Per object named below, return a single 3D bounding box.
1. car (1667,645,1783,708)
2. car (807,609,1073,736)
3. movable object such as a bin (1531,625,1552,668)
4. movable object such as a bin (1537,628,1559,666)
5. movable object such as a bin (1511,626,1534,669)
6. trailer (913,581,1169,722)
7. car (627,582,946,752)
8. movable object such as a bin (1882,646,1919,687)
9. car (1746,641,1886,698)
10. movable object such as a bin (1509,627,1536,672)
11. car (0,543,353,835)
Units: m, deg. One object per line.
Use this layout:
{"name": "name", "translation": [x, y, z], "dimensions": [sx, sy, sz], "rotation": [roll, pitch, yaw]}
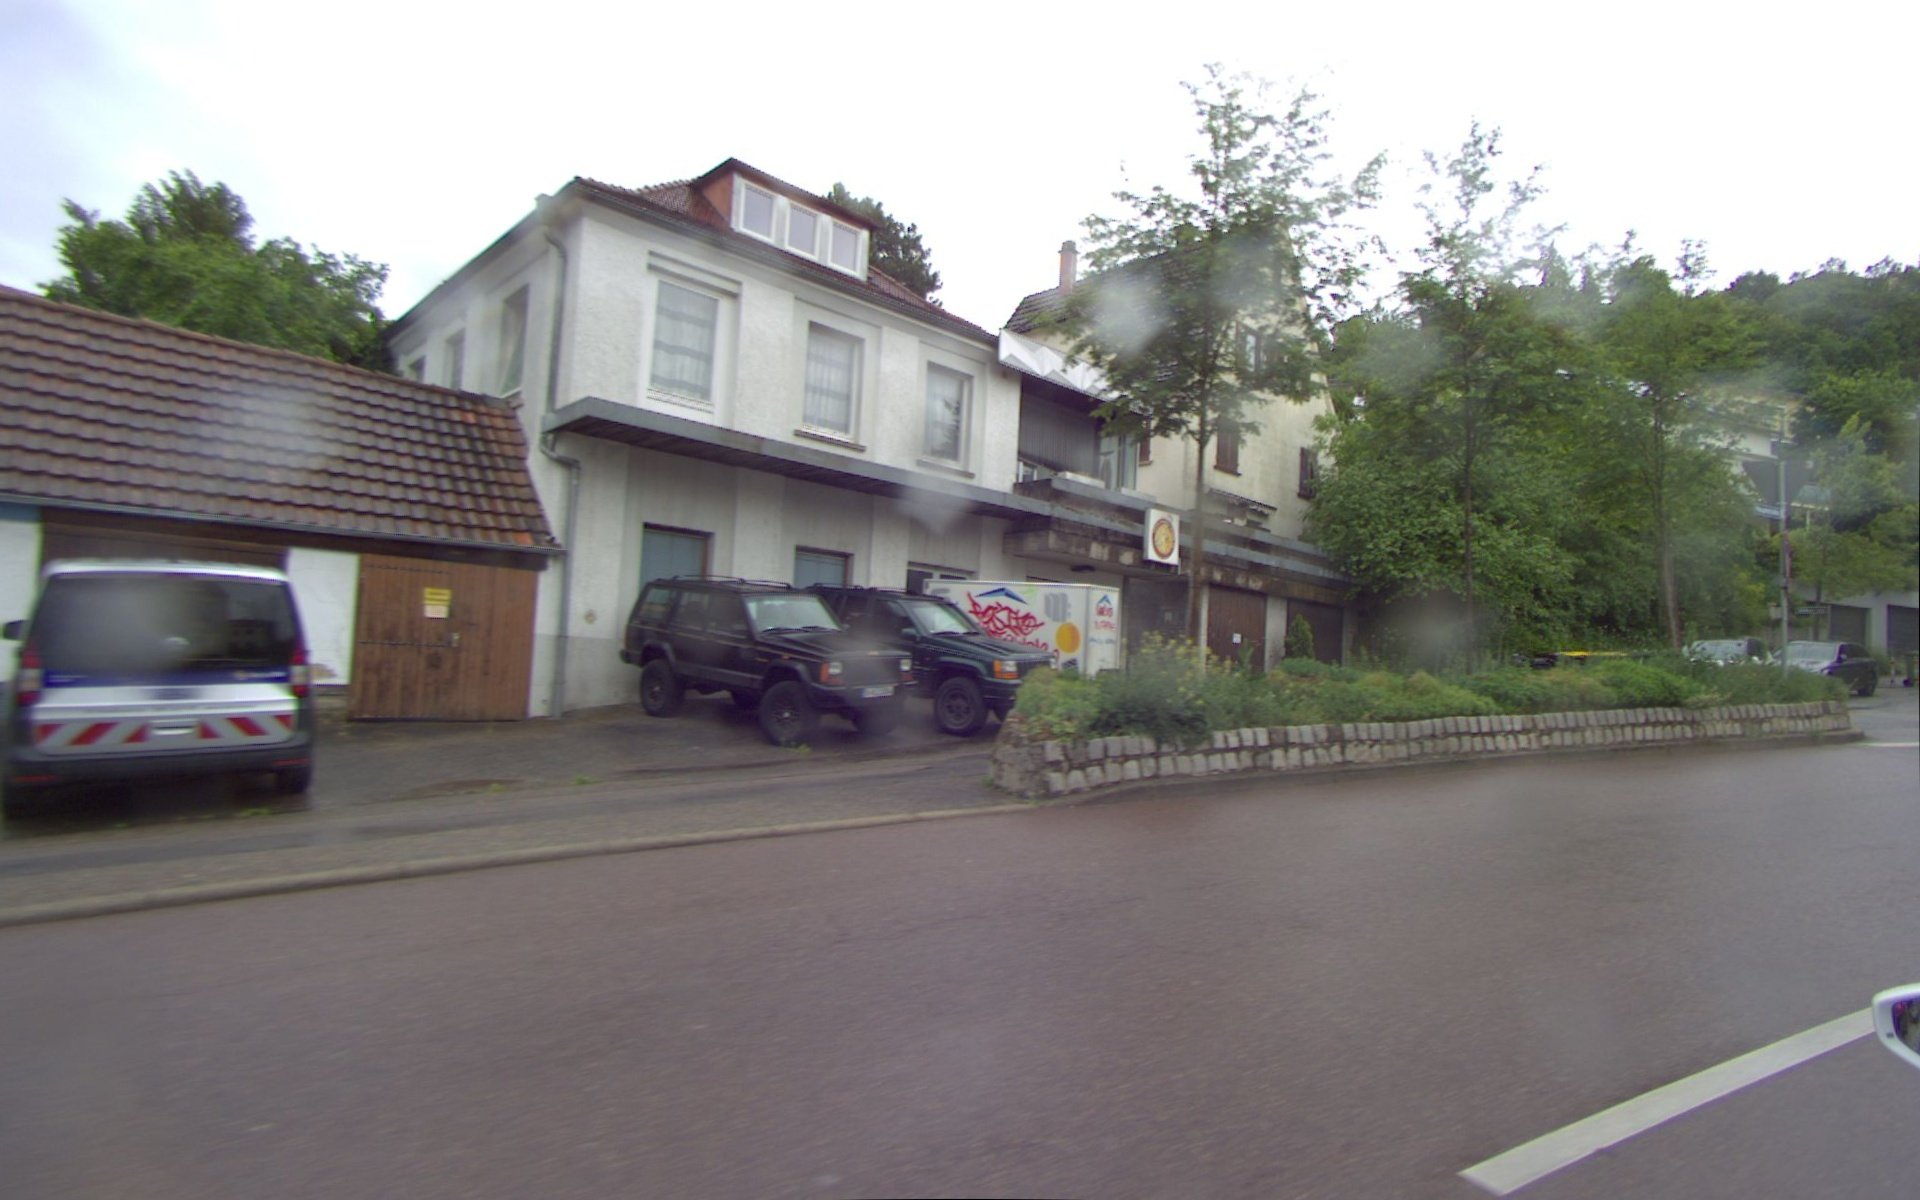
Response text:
{"name": "car", "translation": [18.691, 1.807, 24.486], "dimensions": [3.718, 1.348, 1.530], "rotation": [2, -1, -41]}
{"name": "car", "translation": [-0.311, 0.920, 14.077], "dimensions": [3.292, 1.505, 1.832], "rotation": [1, -1, 37]}
{"name": "movable object such as a bin", "translation": [14.574, 1.162, 25.179], "dimensions": [0.378, 1.053, 0.299], "rotation": [1, 0, -30]}
{"name": "movable object such as a bin", "translation": [15.060, 1.200, 25.724], "dimensions": [0.378, 0.955, 0.319], "rotation": [1, 0, -30]}
{"name": "movable object such as a bin", "translation": [14.035, 1.178, 25.060], "dimensions": [0.384, 1.060, 0.346], "rotation": [1, 0, -30]}
{"name": "trailer", "translation": [1.378, 0.835, 16.979], "dimensions": [3.887, 2.130, 1.952], "rotation": [0, -2, 26]}
{"name": "car", "translation": [-2.313, 0.728, 12.866], "dimensions": [4.027, 1.798, 1.791], "rotation": [2, 0, 39]}
{"name": "movable object such as a bin", "translation": [29.375, 2.056, 31.163], "dimensions": [0.919, 1.214, 0.850], "rotation": [1, 0, -24]}
{"name": "car", "translation": [23.224, 1.836, 27.202], "dimensions": [4.397, 1.378, 1.589], "rotation": [2, -1, -31]}
{"name": "movable object such as a bin", "translation": [13.745, 1.211, 24.535], "dimensions": [0.494, 1.078, 0.364], "rotation": [1, 0, -30]}
{"name": "car", "translation": [-6.608, 0.565, 8.431], "dimensions": [1.984, 1.824, 4.072], "rotation": [2, -1, -40]}
